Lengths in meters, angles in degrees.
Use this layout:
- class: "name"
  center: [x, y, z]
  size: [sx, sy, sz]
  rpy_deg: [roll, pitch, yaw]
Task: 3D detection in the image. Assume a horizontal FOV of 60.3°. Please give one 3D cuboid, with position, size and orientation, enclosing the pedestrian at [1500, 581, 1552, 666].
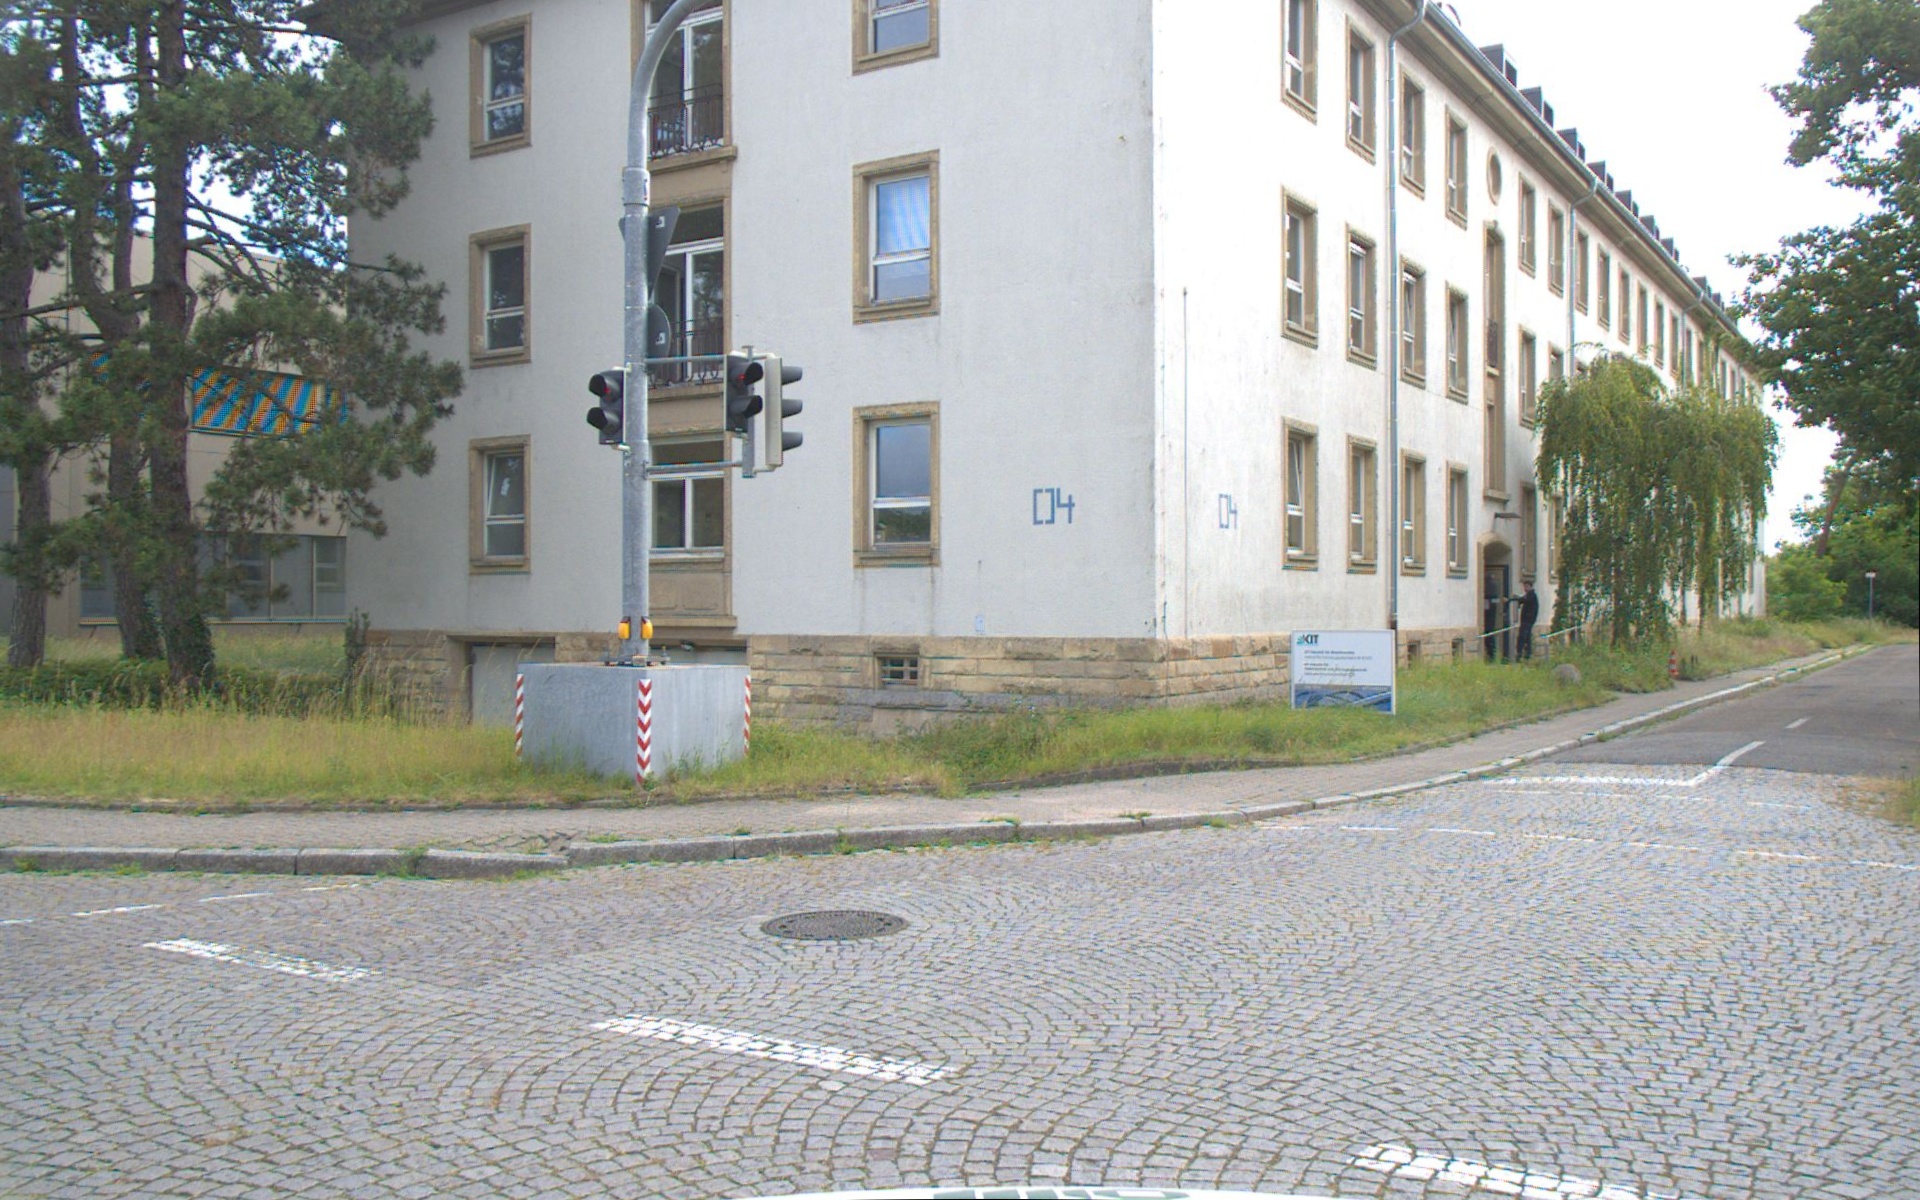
- class: "pedestrian"
  center: [12.252, 0.506, 35.792]
  size: [0.824, 1.812, 0.937]
  rpy_deg: [0, -1, 38]
